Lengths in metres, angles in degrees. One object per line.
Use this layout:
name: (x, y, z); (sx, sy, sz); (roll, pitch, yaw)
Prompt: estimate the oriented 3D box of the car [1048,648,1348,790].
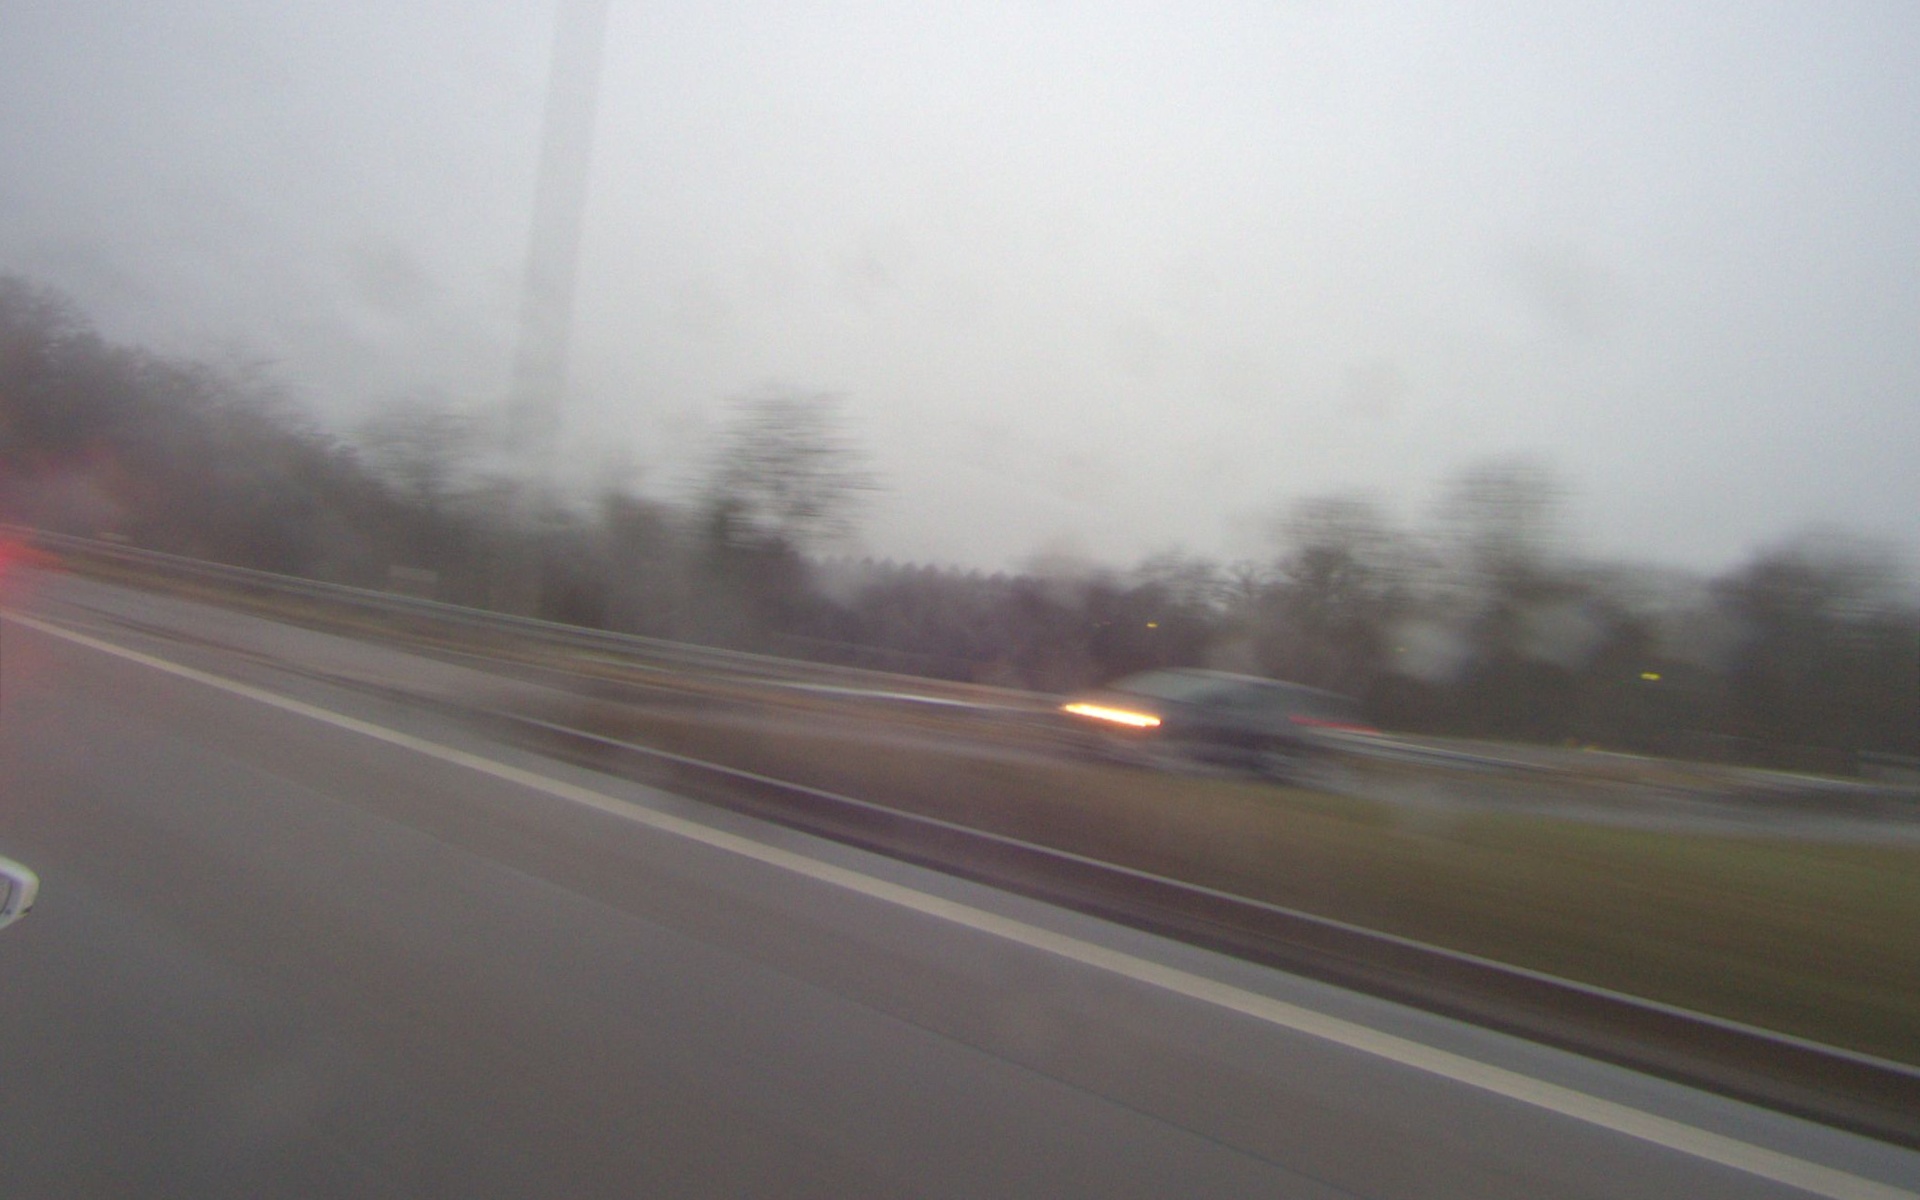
car: (3.408, 1.705, 14.735); (3.757, 1.451, 1.791); (8, -1, -10)
